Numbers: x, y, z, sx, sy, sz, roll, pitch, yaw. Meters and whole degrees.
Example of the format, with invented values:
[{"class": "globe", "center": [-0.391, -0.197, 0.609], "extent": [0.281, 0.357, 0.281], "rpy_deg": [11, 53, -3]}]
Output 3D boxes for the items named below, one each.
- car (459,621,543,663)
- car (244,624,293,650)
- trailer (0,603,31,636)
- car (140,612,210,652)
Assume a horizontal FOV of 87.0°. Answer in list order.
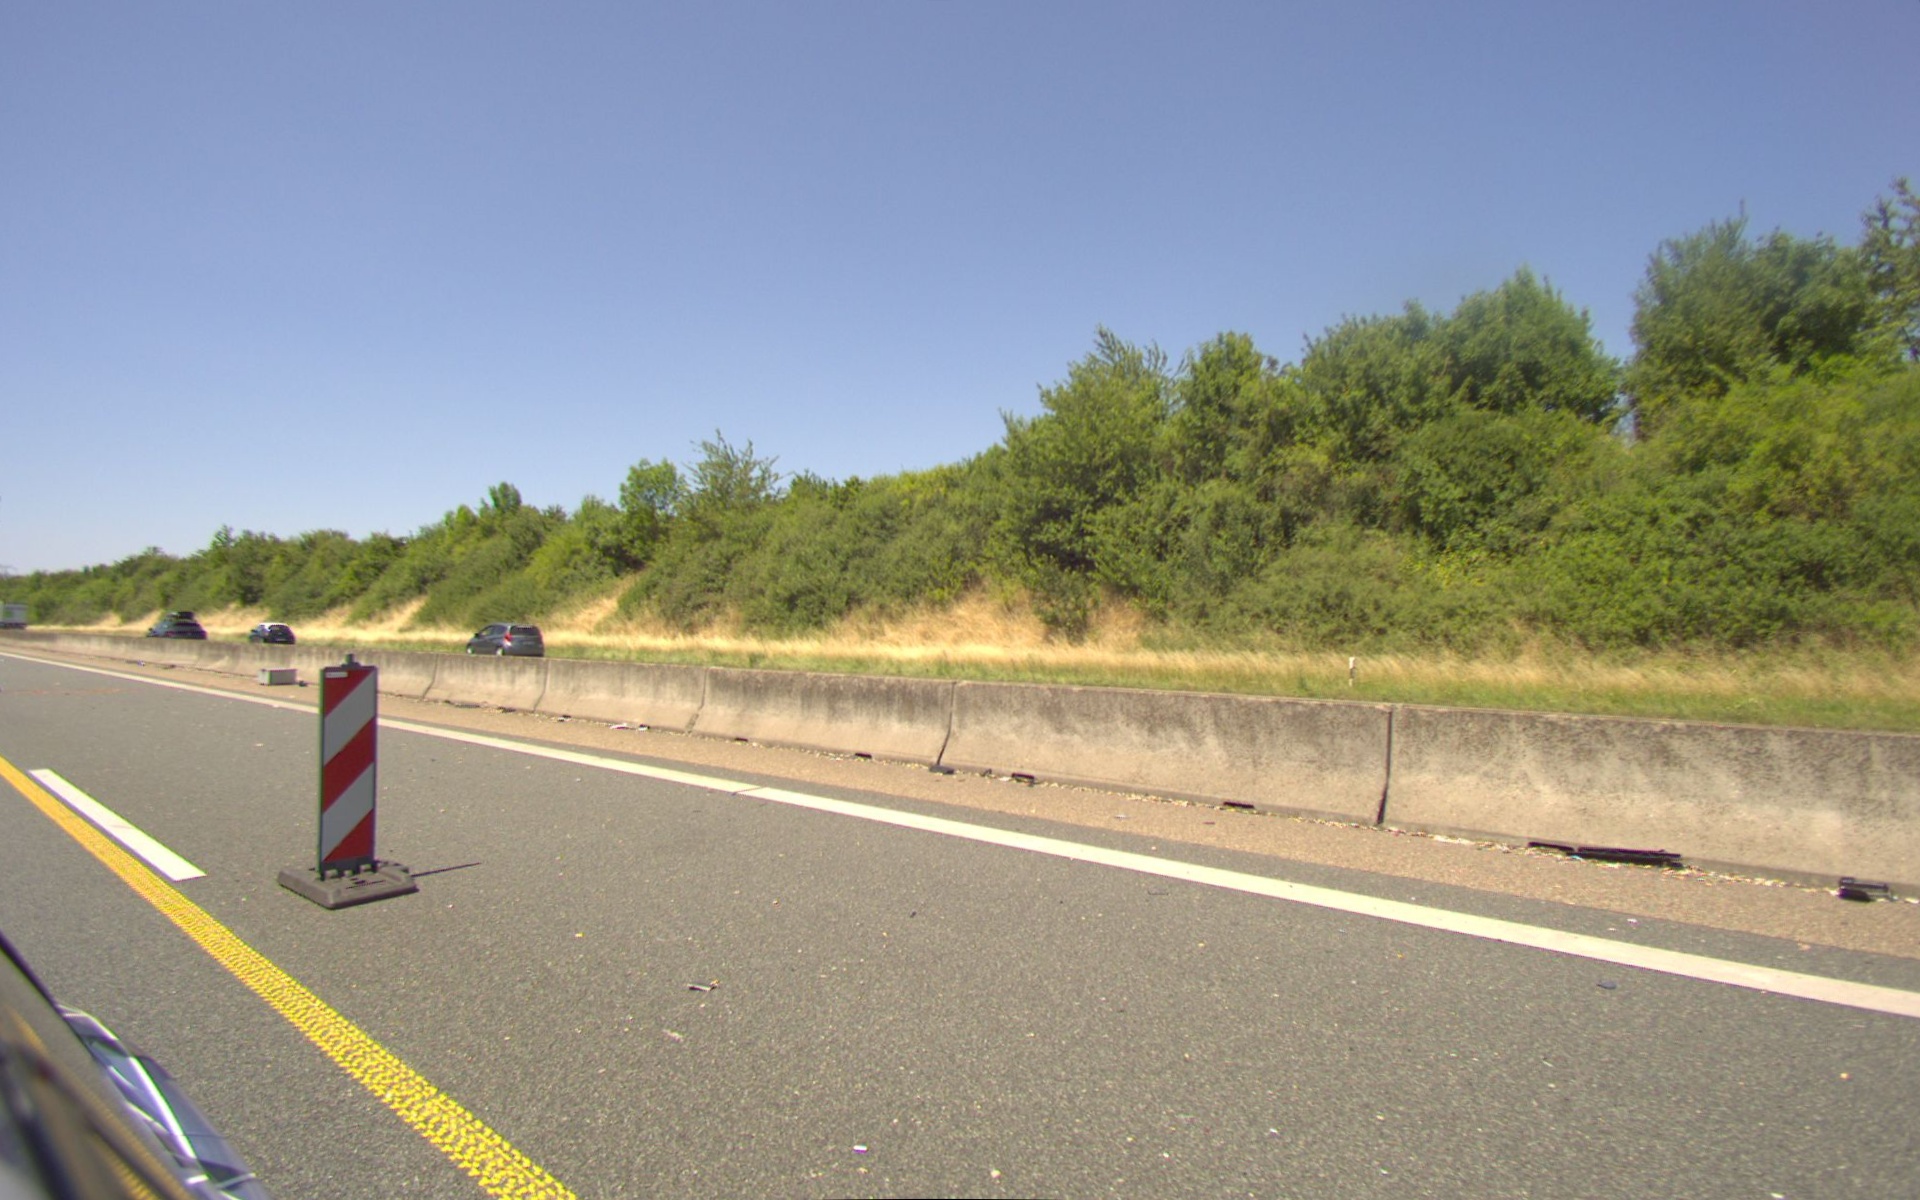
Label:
[{"class": "car", "center": [-18.072, 1.625, 39.796], "extent": [3.998, 1.560, 1.484], "rpy_deg": [-1, -2, 41]}, {"class": "car", "center": [-41.446, 2.210, 60.617], "extent": [3.777, 1.475, 1.557], "rpy_deg": [-1, -2, 42]}, {"class": "trailer", "center": [-127.777, 2.667, 135.677], "extent": [13.628, 4.093, 2.922], "rpy_deg": [-1, -4, 41]}, {"class": "car", "center": [-37.608, 1.522, 48.443], "extent": [4.619, 1.832, 1.723], "rpy_deg": [-1, -2, 41]}]
